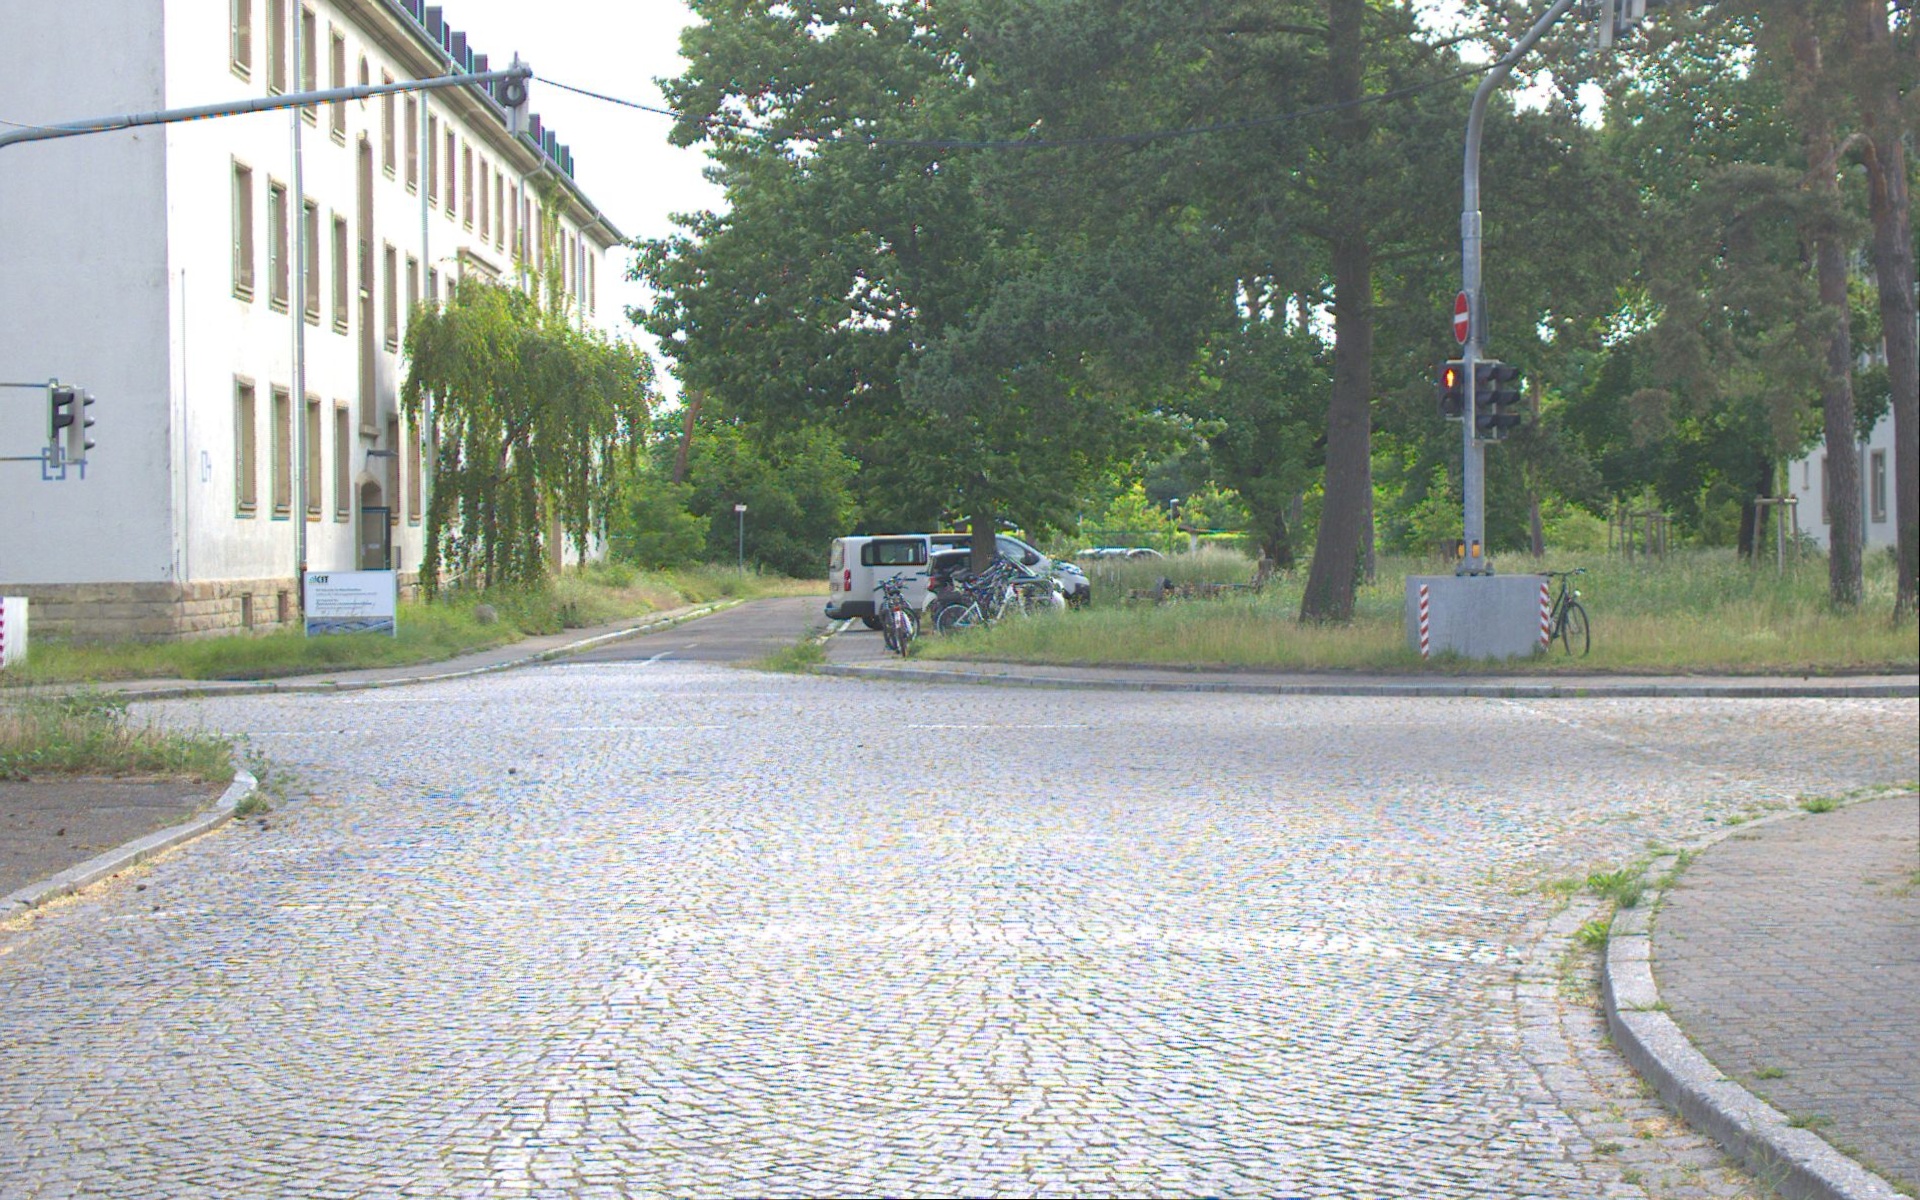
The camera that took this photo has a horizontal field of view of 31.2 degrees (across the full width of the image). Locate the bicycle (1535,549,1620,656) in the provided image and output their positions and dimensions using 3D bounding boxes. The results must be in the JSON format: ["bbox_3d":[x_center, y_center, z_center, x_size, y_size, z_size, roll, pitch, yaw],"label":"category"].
[{"bbox_3d":[7.059,0.018,39.391,0.724,1.165,2.736,1,1,6],"label":"bicycle"}]

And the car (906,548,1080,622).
[{"bbox_3d":[0.615,-0.297,65.595,3.137,1.349,1.620,-1,1,-6],"label":"car"}]

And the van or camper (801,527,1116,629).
[{"bbox_3d":[-0.040,-0.464,69.172,6.030,1.942,2.001,-1,1,-14],"label":"van or camper"}]

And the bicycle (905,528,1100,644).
[{"bbox_3d":[0.624,-0.216,51.200,2.775,1.688,1.120,-1,1,-5],"label":"bicycle"}]

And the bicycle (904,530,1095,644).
[{"bbox_3d":[0.590,-0.207,52.395,2.775,1.688,1.120,-1,1,-7],"label":"bicycle"}]

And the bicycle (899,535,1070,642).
[{"bbox_3d":[0.417,-0.197,57.300,2.775,1.688,1.120,2,1,1],"label":"bicycle"}]

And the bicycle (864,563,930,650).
[{"bbox_3d":[-0.846,0.073,46.927,0.725,1.104,2.462,-5,1,1],"label":"bicycle"}]

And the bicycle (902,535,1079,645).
[{"bbox_3d":[0.511,-0.163,55.962,2.776,1.688,1.120,2,1,4],"label":"bicycle"}]
